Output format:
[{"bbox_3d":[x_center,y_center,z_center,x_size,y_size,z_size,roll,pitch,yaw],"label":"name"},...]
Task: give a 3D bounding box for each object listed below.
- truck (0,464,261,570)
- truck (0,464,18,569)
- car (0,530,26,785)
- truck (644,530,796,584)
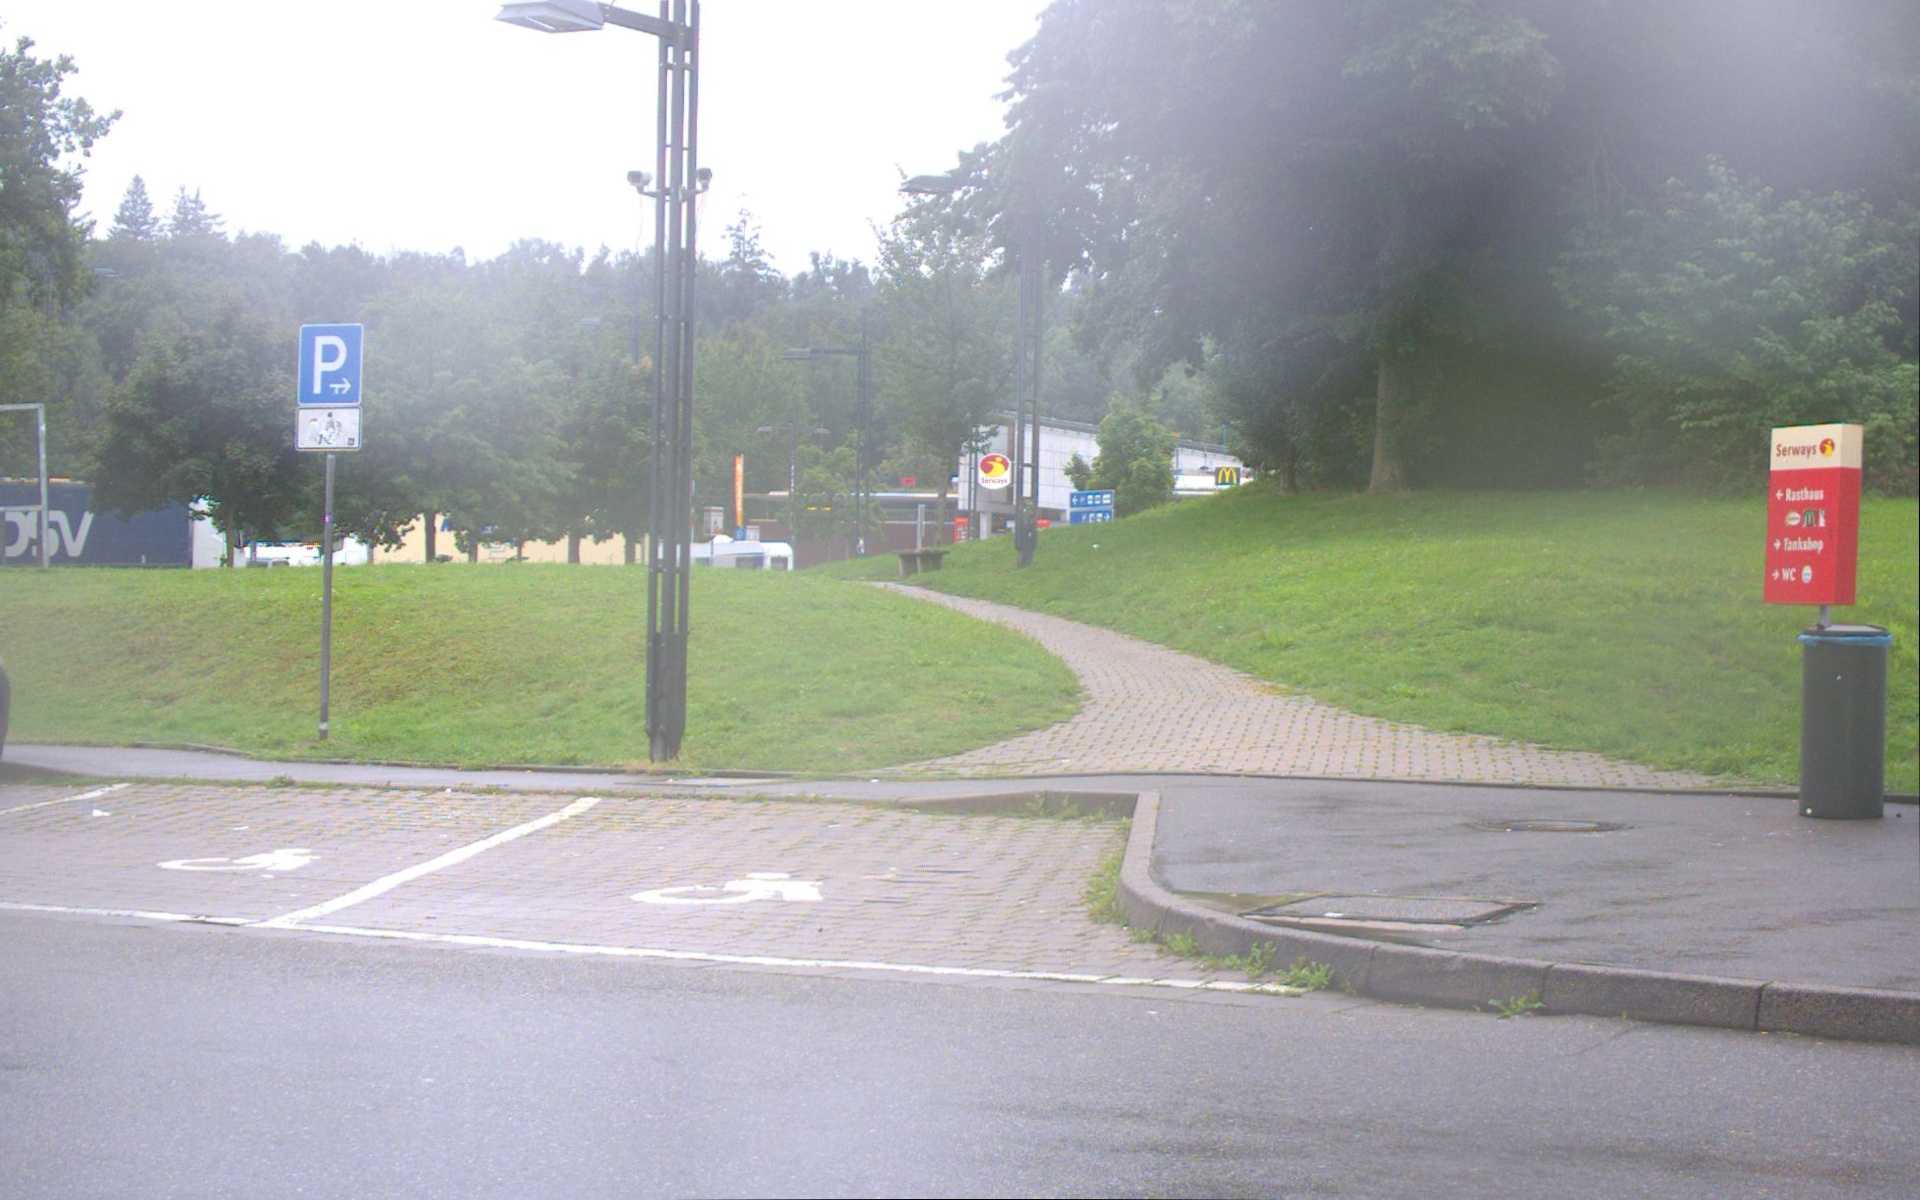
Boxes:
[{"bbox_3d":[-25.465,-2.373,101.624,2.188,2.910,13.082,1,1,24],"label":"truck"},{"bbox_3d":[-28.604,-2.348,94.654,2.189,2.910,5.380,1,1,24],"label":"truck"},{"bbox_3d":[-7.800,0.450,21.487,2.018,1.705,4.341,-1,1,12],"label":"car"},{"bbox_3d":[-9.329,-1.668,133.802,5.413,2.007,2.364,1,1,25],"label":"truck"}]
